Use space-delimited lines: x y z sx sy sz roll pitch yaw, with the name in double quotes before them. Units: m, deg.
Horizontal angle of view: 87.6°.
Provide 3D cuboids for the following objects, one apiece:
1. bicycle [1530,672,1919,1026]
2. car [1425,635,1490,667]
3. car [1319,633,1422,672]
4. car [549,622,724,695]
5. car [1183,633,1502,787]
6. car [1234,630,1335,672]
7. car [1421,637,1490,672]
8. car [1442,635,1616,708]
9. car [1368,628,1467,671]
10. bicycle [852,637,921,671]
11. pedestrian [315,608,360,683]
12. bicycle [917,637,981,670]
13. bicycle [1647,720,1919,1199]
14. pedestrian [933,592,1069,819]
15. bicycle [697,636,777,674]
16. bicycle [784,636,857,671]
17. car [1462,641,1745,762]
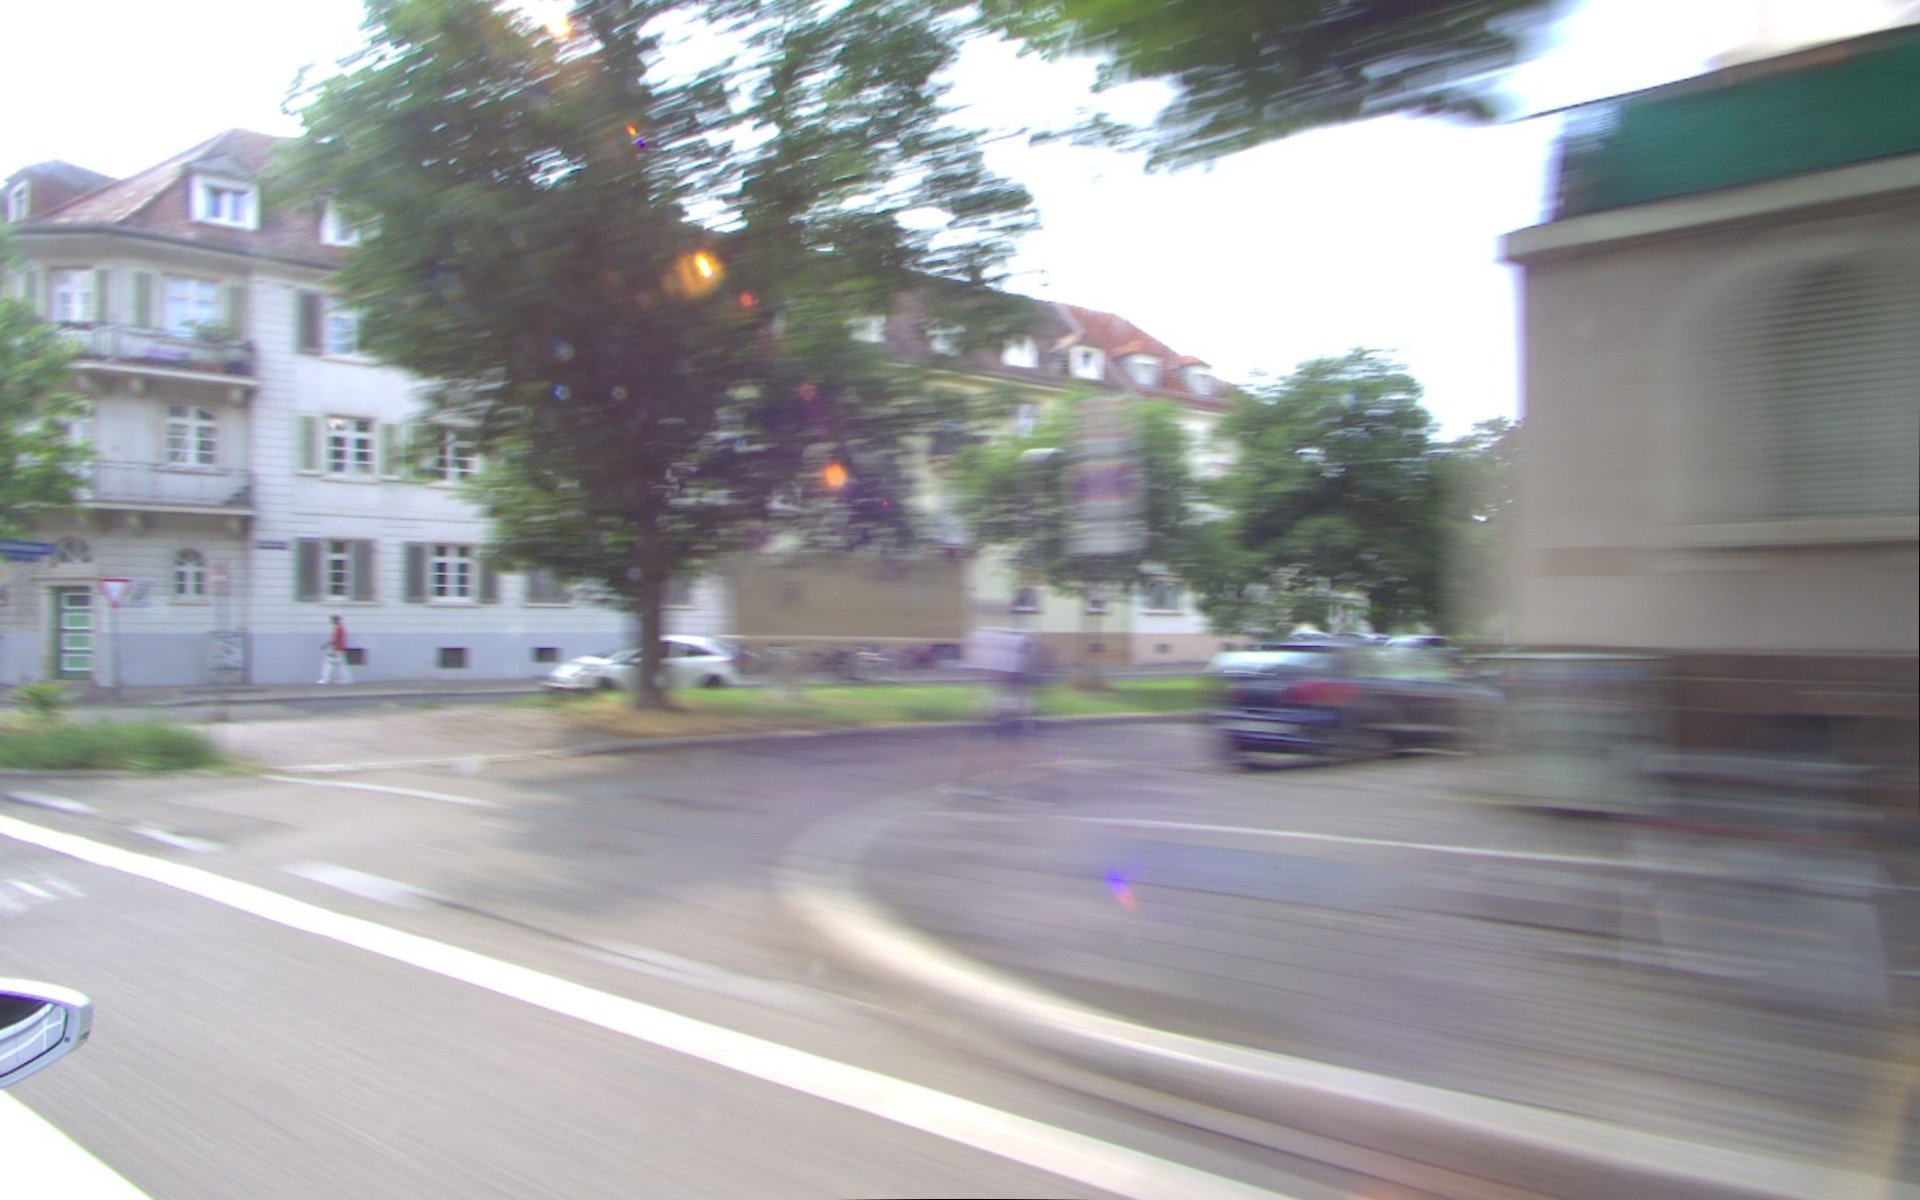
"bicycle" 3.238 0.891 3.809 1.807 1.173 0.585 -1 -1 25
"car" 25.184 2.550 50.650 3.287 1.518 1.378 1 1 -32
"car" 18.609 2.351 45.520 1.875 1.518 3.887 1 1 -37
"car" -7.512 1.300 23.309 3.569 1.518 1.721 1 1 -32
"car" 4.378 1.115 11.337 3.529 1.470 1.720 1 -2 -35
"car" 13.731 2.130 42.358 4.010 1.599 1.887 1 1 -32
"car" 23.465 2.542 47.406 3.287 1.518 1.378 1 1 -32
"car" 12.966 1.602 22.798 3.877 1.529 1.724 1 -5 -31
"car" 17.512 1.869 38.331 3.569 1.518 1.721 1 1 -32
"bicycle" -2.627 1.931 36.051 2.485 1.163 0.677 1 2 -38
"pedestrian" -16.644 1.227 26.798 0.964 1.961 0.897 1 -2 -31
"bicycle" -0.398 1.999 37.527 2.485 1.163 0.677 1 2 -38
"bicycle" 2.462 0.971 3.101 0.471 1.080 1.266 0 -1 31
"pedestrian" 0.357 0.879 8.733 1.015 1.857 0.617 0 -1 31
"bicycle" -7.288 1.797 32.827 2.485 1.163 0.677 1 2 -38
"bicycle" -4.818 1.837 34.770 2.485 1.163 0.677 1 2 -38
"car" 9.207 1.335 14.250 4.197 1.470 1.722 1 -2 -31
